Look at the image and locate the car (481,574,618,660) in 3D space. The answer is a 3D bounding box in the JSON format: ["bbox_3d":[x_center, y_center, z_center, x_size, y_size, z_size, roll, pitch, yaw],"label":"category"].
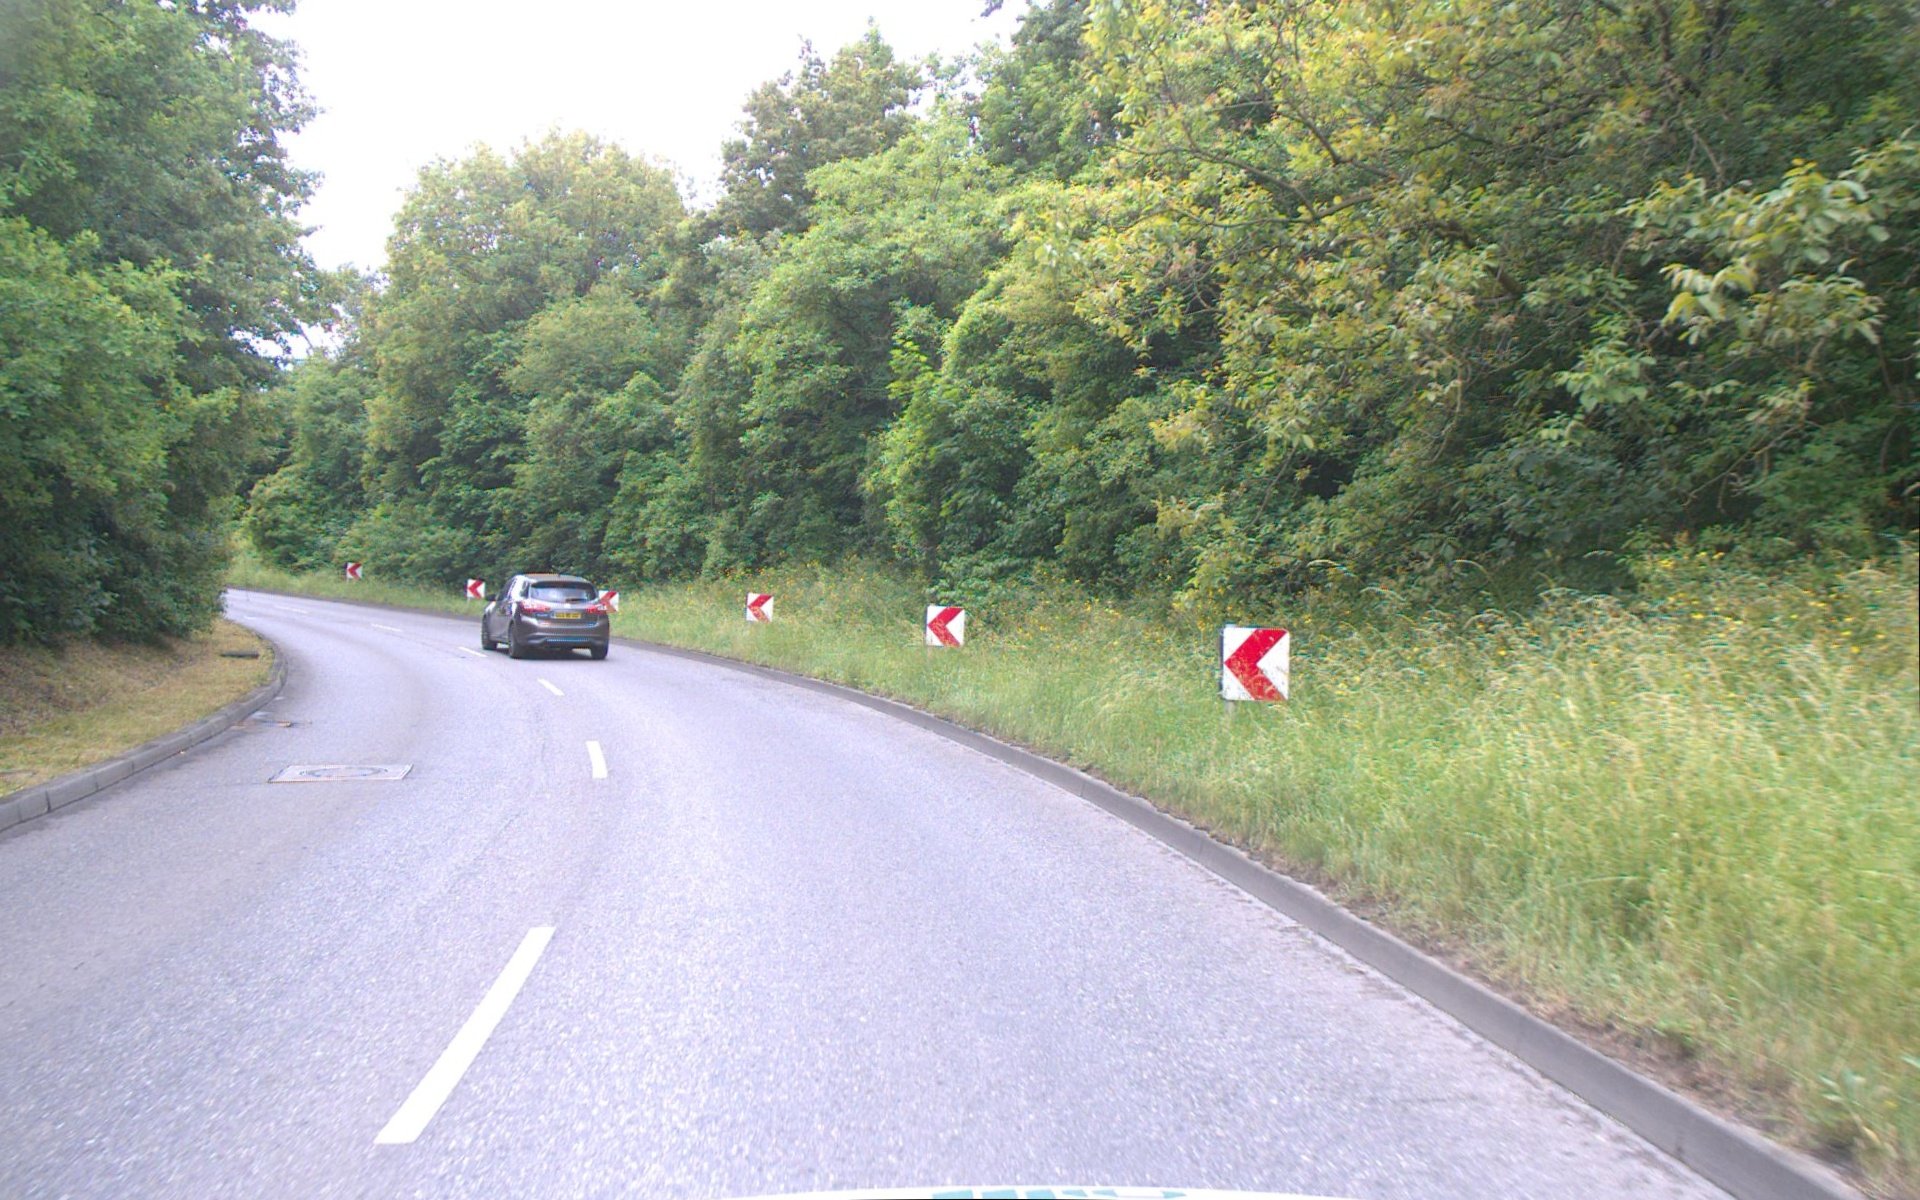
[{"bbox_3d":[-7.880,0.270,31.537,1.816,1.509,3.968,0,1,-25],"label":"car"}]
